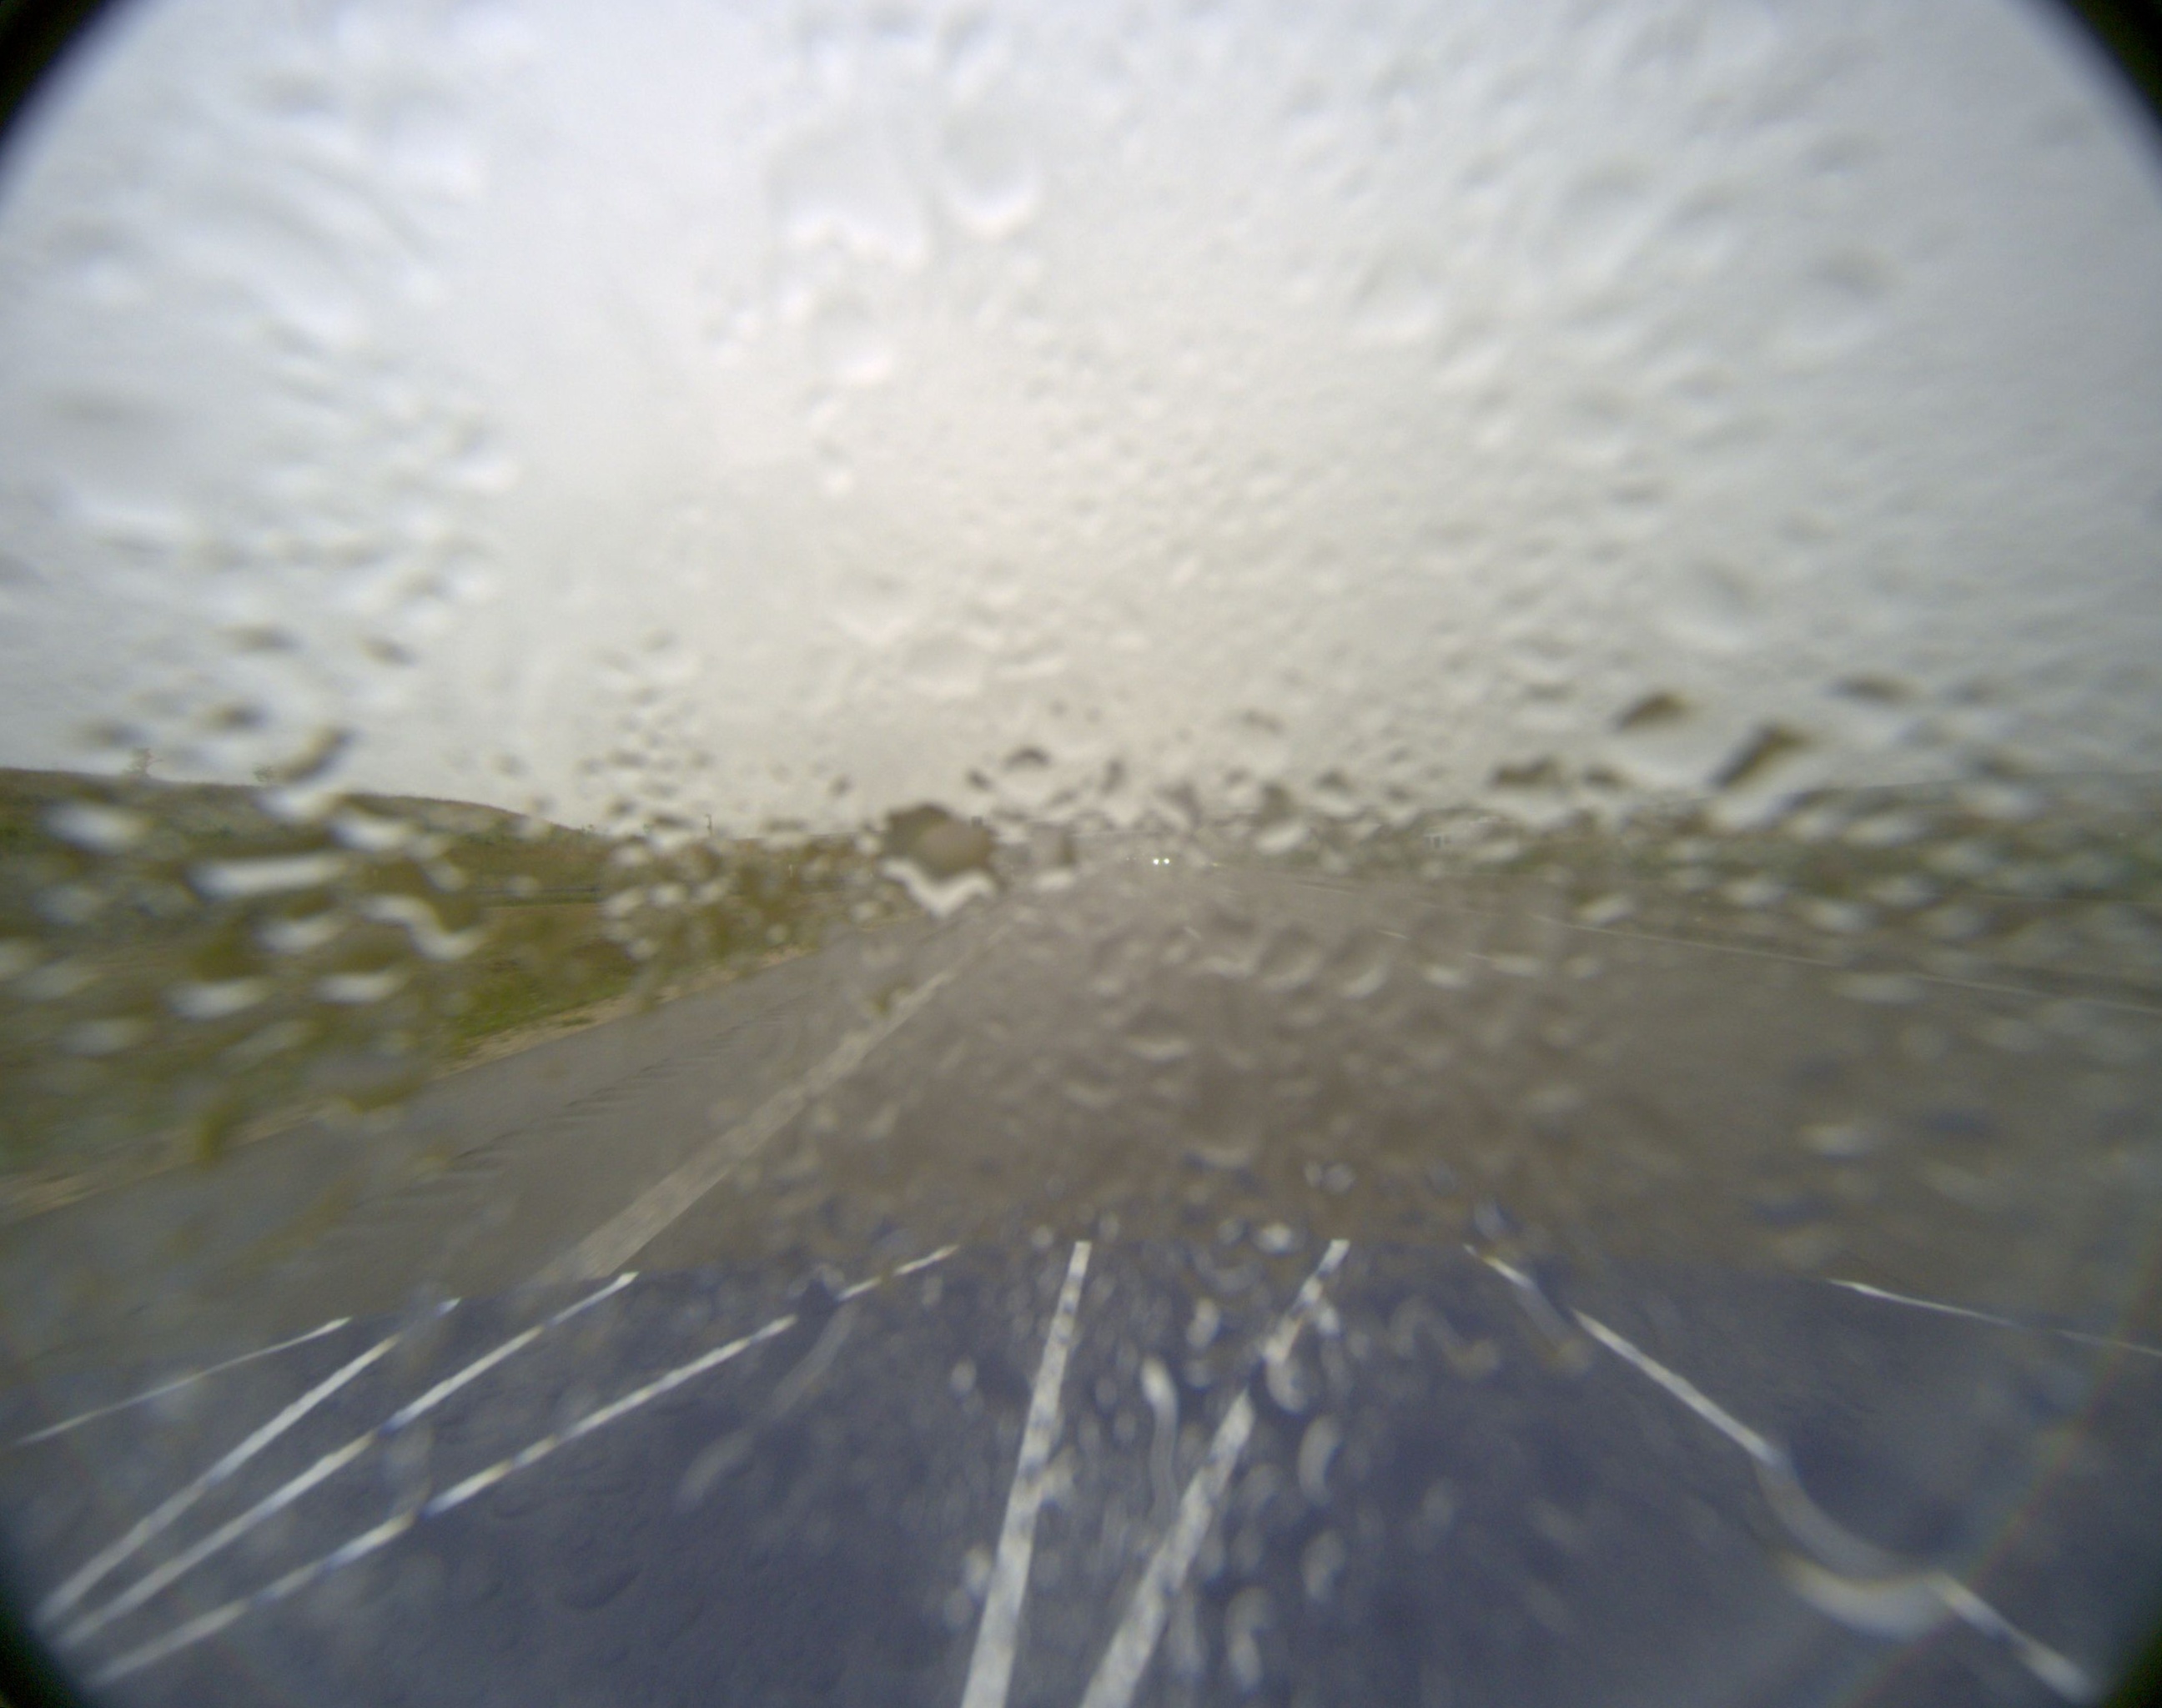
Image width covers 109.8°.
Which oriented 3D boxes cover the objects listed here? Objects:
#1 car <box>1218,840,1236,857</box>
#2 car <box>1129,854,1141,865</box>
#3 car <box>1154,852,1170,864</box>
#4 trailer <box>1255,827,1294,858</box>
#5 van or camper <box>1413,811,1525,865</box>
[{"bbox_3d":[24.392,-0.870,127.366,2.502,2.690,6.209,-2,0,7],"label":"car"},{"bbox_3d":[8.725,0.896,122.329,1.701,1.543,3.733,-2,1,1],"label":"car"},{"bbox_3d":[10.444,0.498,98.032,1.701,1.543,3.733,-2,1,1],"label":"car"},{"bbox_3d":[26.132,-1.494,103.340,2.229,3.974,14.208,-1,0,3],"label":"trailer"},{"bbox_3d":[20.016,-0.760,39.715,2.379,2.493,6.756,-2,0,0],"label":"van or camper"}]
